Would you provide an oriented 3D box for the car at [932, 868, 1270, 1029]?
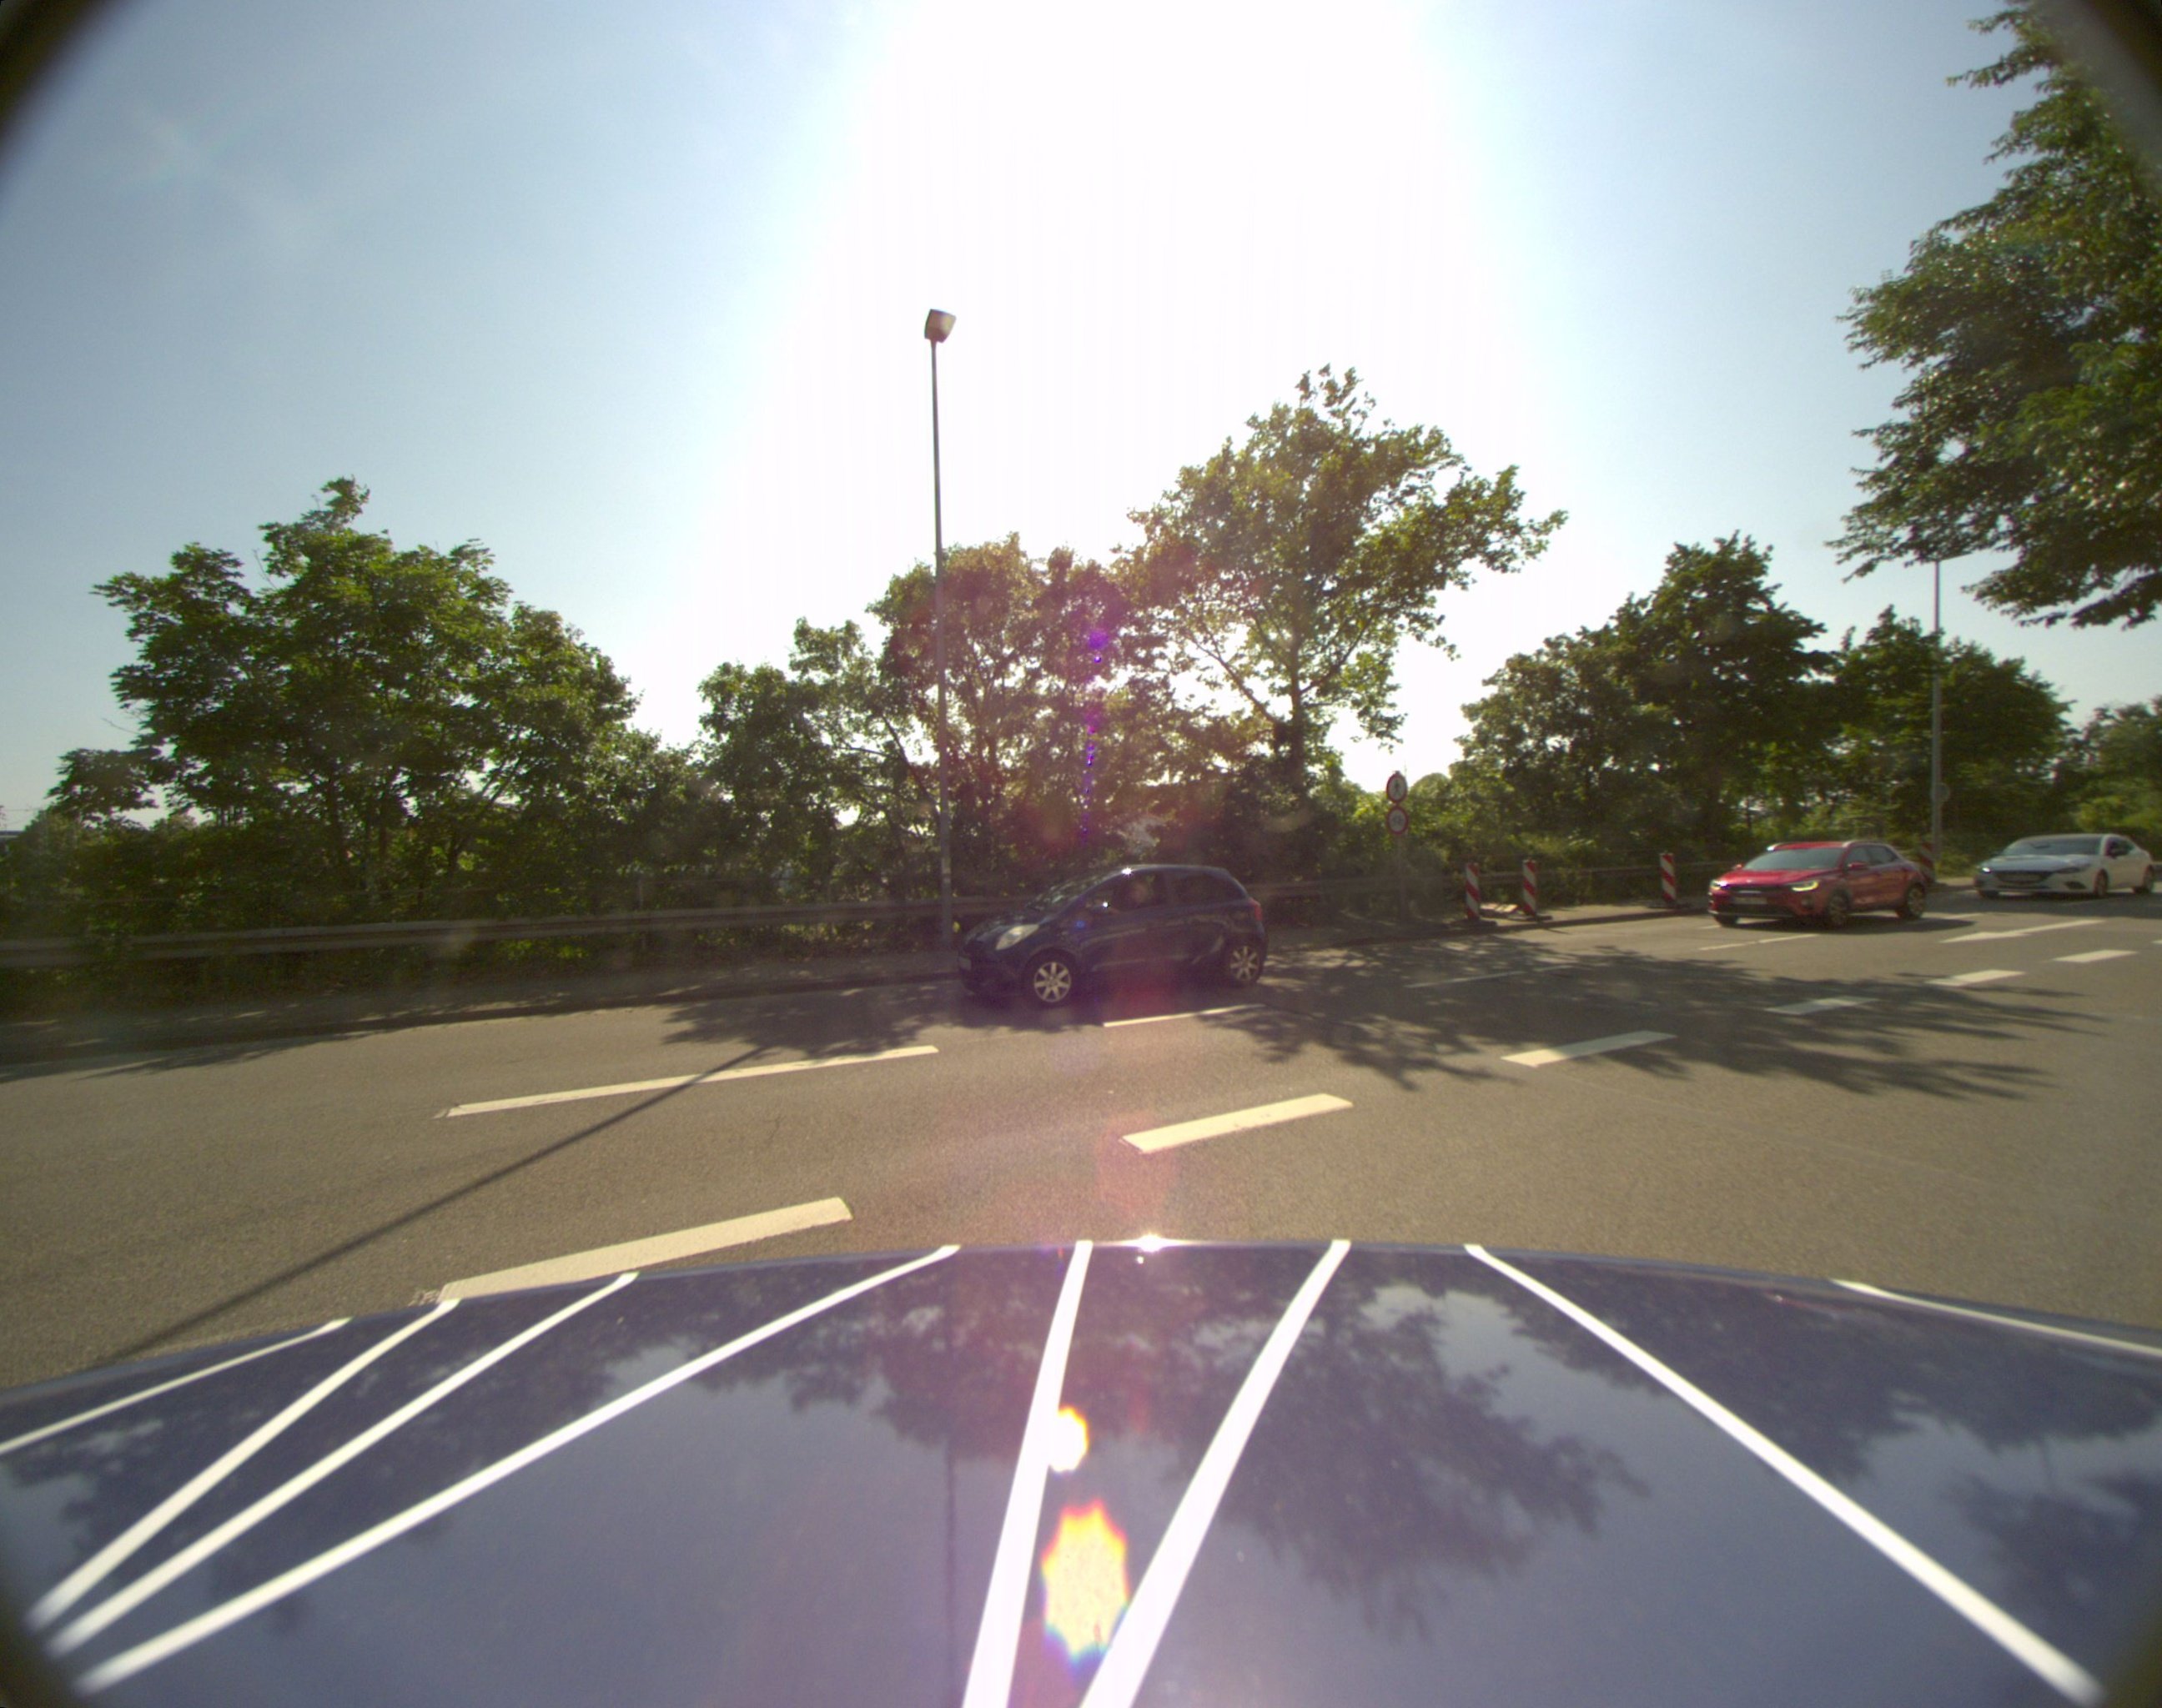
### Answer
[{"bbox_3d":[0.235,0.981,9.100,3.653,1.491,1.643,-2,-1,-23],"label":"car"}]

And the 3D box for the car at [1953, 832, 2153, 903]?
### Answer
[{"bbox_3d":[22.943,0.281,17.939,4.209,1.444,1.867,-2,0,-23],"label":"car"}]

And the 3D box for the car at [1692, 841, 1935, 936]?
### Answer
[{"bbox_3d":[13.707,0.574,14.233,3.968,1.511,1.800,-2,0,-22],"label":"car"}]
